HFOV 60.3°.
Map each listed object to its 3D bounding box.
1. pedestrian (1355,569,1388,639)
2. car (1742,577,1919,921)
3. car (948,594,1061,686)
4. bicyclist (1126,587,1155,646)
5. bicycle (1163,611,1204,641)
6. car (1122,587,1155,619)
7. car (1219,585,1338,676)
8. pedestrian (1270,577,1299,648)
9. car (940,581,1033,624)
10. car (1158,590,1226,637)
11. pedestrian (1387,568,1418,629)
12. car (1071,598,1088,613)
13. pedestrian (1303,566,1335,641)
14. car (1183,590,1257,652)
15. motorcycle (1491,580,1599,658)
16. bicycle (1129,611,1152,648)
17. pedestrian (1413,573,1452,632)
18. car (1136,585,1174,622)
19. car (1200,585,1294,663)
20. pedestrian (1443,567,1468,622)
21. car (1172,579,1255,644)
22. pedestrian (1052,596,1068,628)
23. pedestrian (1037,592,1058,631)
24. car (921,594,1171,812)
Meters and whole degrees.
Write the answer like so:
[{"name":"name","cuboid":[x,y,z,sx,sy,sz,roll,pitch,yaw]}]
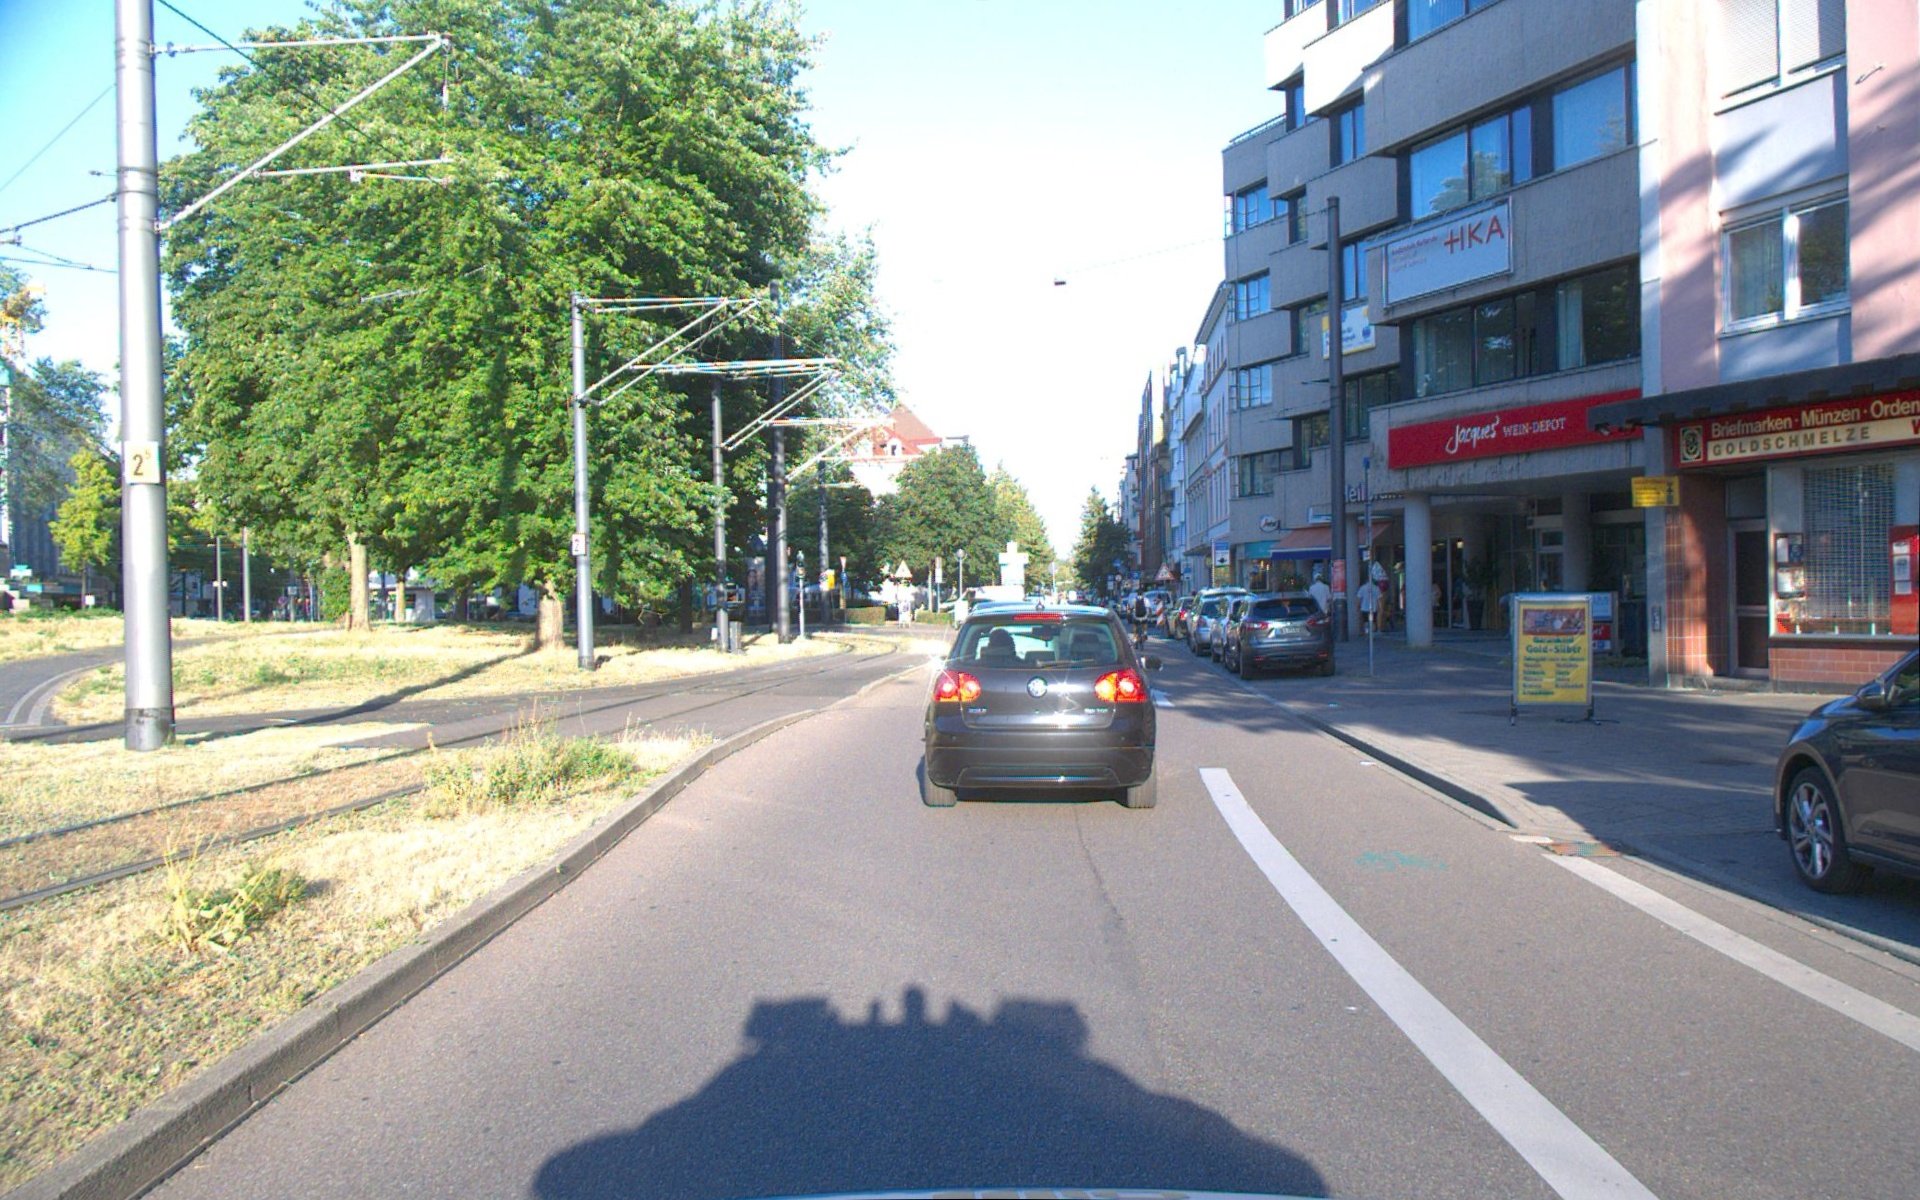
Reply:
[{"name":"pedestrian","cuboid":[10.678,0.108,42.941,0.609,1.770,0.662,-4,-1,5]},{"name":"car","cuboid":[5.052,0.627,7.011,1.692,1.497,3.900,-3,0,3]},{"name":"car","cuboid":[0.802,0.651,29.227,1.826,1.466,4.198,-1,0,2]},{"name":"bicyclist","cuboid":[5.121,0.459,46.879,0.760,1.646,1.025,0,0,3]},{"name":"bicycle","cuboid":[9.351,1.090,69.209,1.575,1.138,0.610,-3,0,37]},{"name":"car","cuboid":[11.099,0.161,102.901,1.885,1.873,4.020,-2,0,5]},{"name":"car","cuboid":[6.191,0.558,32.529,1.744,1.583,4.237,-3,0,4]},{"name":"pedestrian","cuboid":[8.448,0.318,43.127,0.566,1.790,0.662,-4,-1,5]},{"name":"car","cuboid":[1.658,0.137,103.304,5.436,2.640,2.140,0,0,-23]},{"name":"car","cuboid":[7.936,0.441,56.752,1.629,1.466,3.822,-3,0,-2]},{"name":"pedestrian","cuboid":[13.094,-0.044,48.973,0.682,1.757,1.033,-2,0,5]},{"name":"car","cuboid":[13.549,0.590,187.968,1.866,1.579,4.002,-1,0,3]},{"name":"pedestrian","cuboid":[9.301,0.096,42.840,0.609,1.890,0.662,-4,-1,5]},{"name":"car","cuboid":[6.766,0.514,43.316,1.627,1.466,3.857,-3,0,5]},{"name":"motorcycle","cuboid":[10.782,0.344,30.501,1.749,1.354,0.582,-3,0,-9]},{"name":"bicycle","cuboid":[5.104,0.824,46.867,0.567,1.004,1.936,0,0,4]},{"name":"pedestrian","cuboid":[13.969,0.072,48.930,0.968,1.702,0.642,-2,0,5]},{"name":"car","cuboid":[10.002,0.188,85.076,1.698,1.831,3.918,-2,0,4]},{"name":"car","cuboid":[6.450,0.514,37.430,1.574,1.583,3.611,-3,0,3]},{"name":"pedestrian","cuboid":[16.208,-0.187,54.065,0.588,1.790,0.518,0,0,-20]},{"name":"car","cuboid":[7.479,0.333,49.100,1.829,1.743,4.506,-3,0,2]},{"name":"pedestrian","cuboid":[4.989,0.615,82.581,0.721,1.582,0.632,-1,-1,0]},{"name":"pedestrian","cuboid":[4.001,0.524,75.706,0.842,1.736,0.941,0,0,-2]},{"name":"car","cuboid":[0.722,0.713,13.436,1.711,1.486,4.105,0,0,4]}]
